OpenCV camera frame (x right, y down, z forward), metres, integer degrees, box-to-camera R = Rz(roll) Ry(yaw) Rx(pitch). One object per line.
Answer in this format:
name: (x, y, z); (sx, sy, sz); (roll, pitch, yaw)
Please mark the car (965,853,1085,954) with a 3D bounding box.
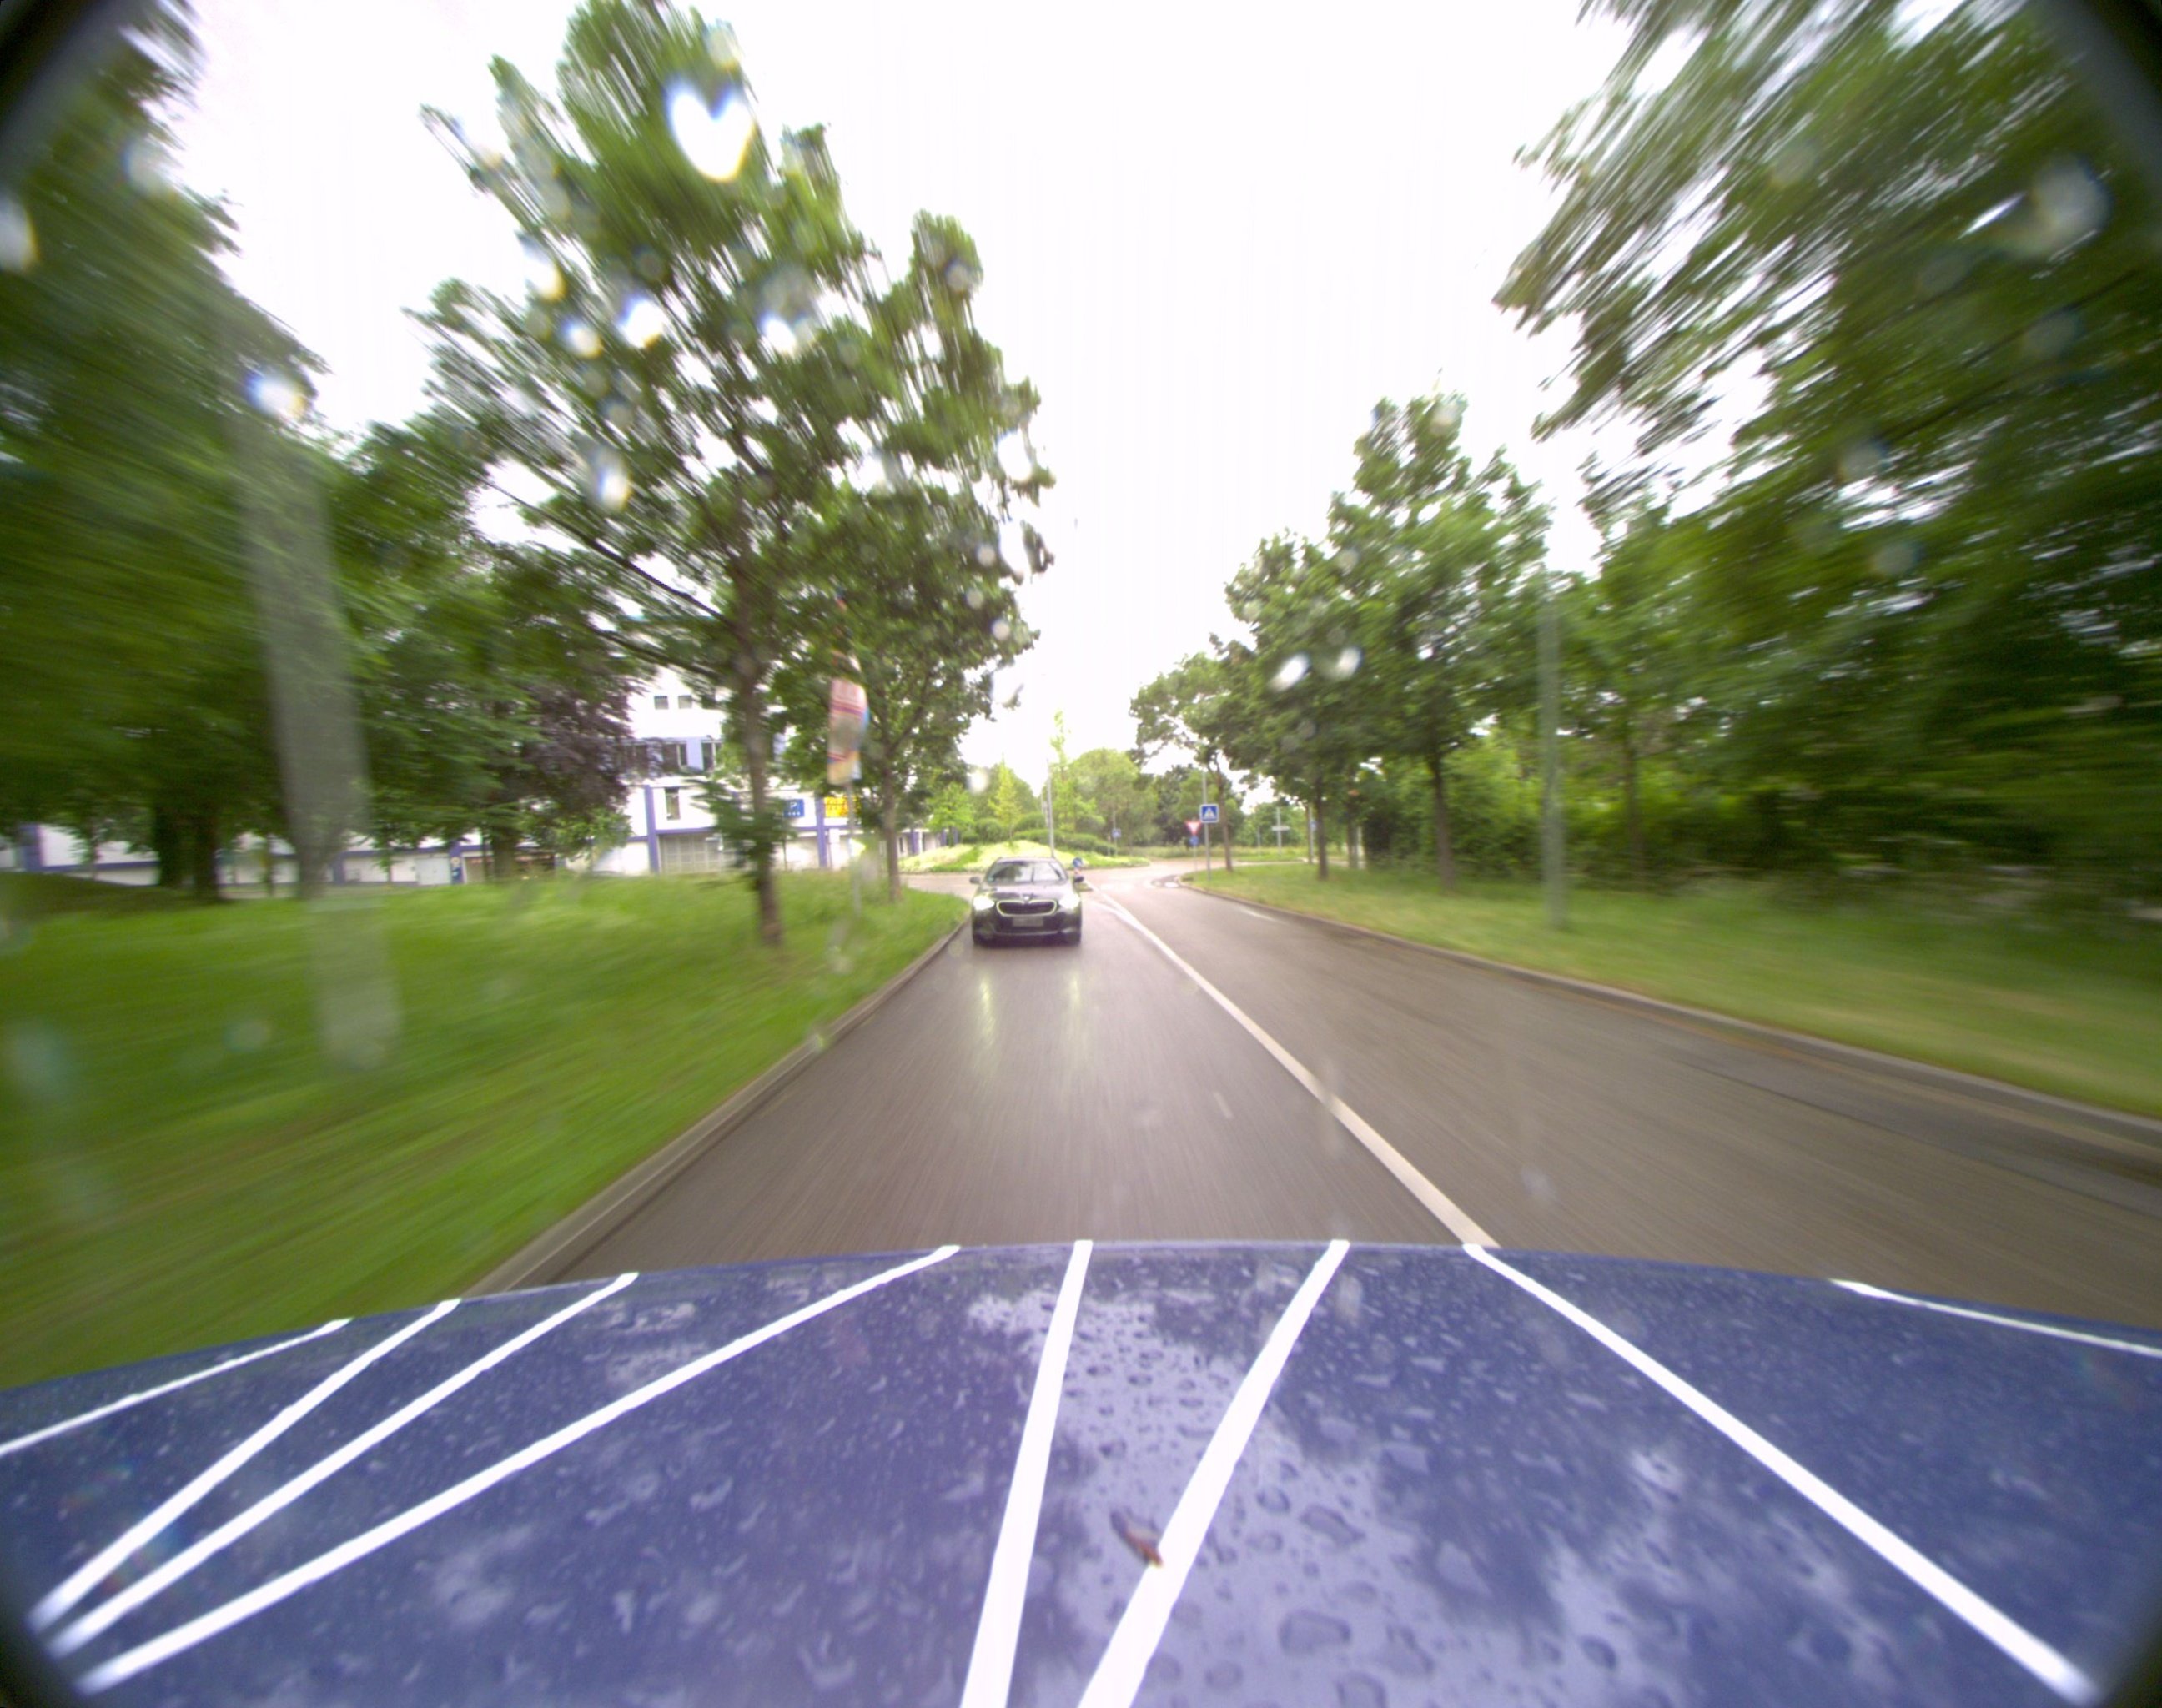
car: (-0.909, 0.801, 14.319); (1.845, 1.471, 3.999); (-4, 1, 0)
